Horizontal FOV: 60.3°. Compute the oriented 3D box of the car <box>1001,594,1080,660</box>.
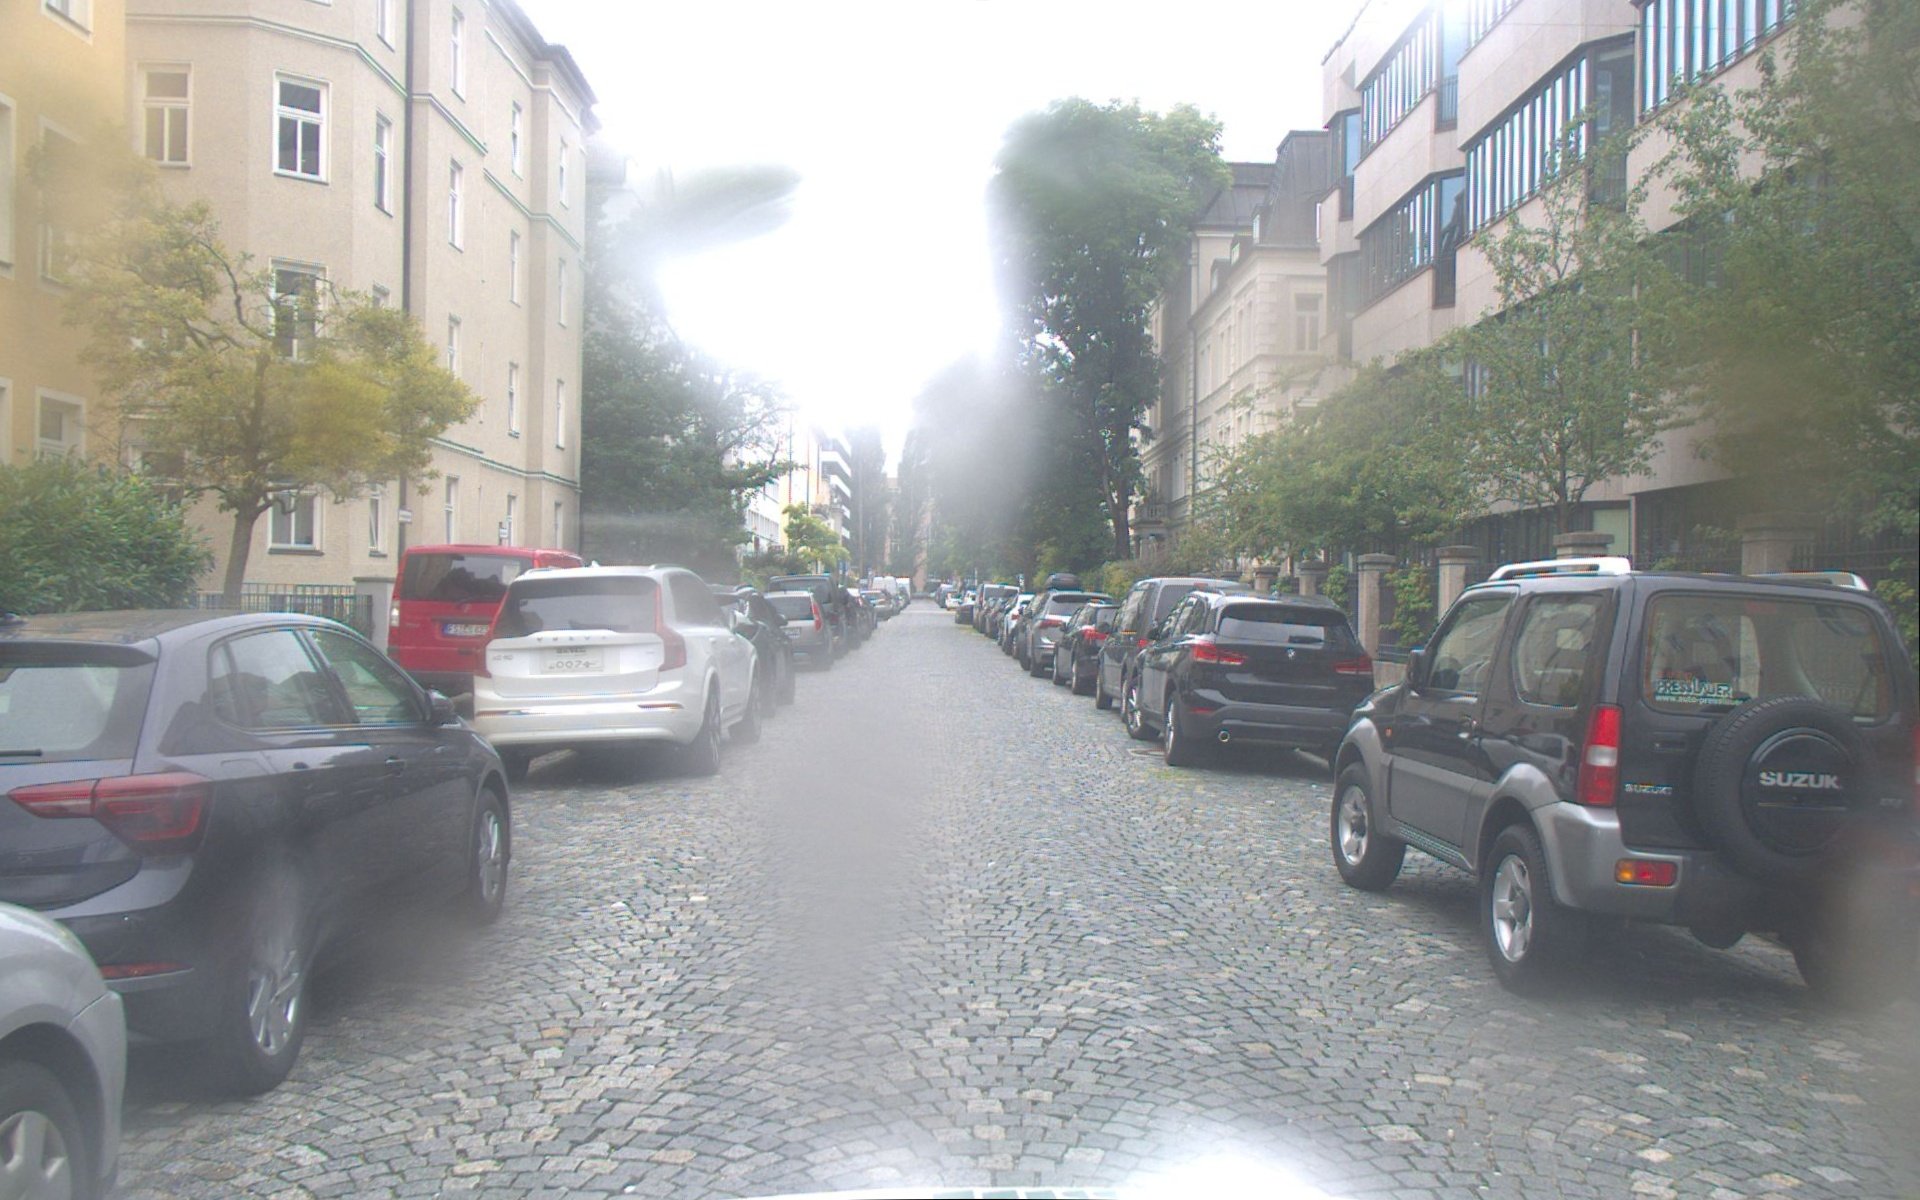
[{"bbox_3d":[2.074,0.679,43.712,1.835,1.516,4.617,3,1,0],"label":"car"}]

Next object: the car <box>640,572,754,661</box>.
[{"bbox_3d":[-5.860,0.336,37.350,1.906,1.765,4.655,3,0,-2],"label":"car"}]

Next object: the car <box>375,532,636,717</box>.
[{"bbox_3d":[-5.504,0.258,20.811,1.954,1.964,5.328,2,0,-2],"label":"car"}]

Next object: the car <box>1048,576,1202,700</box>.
[{"bbox_3d":[2.649,0.576,27.680,1.836,1.765,4.657,4,0,-2],"label":"car"}]

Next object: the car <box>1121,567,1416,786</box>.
[{"bbox_3d":[2.829,0.632,16.308,1.823,1.731,4.812,3,0,-1],"label":"car"}]

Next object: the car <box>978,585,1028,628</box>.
[{"bbox_3d":[1.675,0.241,65.658,1.800,1.516,4.421,3,0,0],"label":"car"}]

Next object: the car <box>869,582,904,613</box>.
[{"bbox_3d":[-4.049,-0.160,90.861,1.836,1.607,4.252,-2,0,-3],"label":"car"}]

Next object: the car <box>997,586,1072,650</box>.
[{"bbox_3d":[2.140,0.490,48.691,1.835,1.699,4.656,3,0,-1],"label":"car"}]

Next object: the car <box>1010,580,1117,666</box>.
[{"bbox_3d":[2.340,0.488,38.584,1.836,1.765,4.744,4,0,-4],"label":"car"}]

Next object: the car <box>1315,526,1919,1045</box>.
[{"bbox_3d":[3.008,0.662,7.830,1.586,1.781,3.885,3,0,-3],"label":"car"}]

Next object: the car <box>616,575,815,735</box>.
[{"bbox_3d":[-3.086,0.634,21.877,1.878,1.765,4.755,-4,0,-1],"label":"car"}]

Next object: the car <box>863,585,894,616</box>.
[{"bbox_3d":[-5.083,0.031,103.410,1.836,1.807,4.121,-3,0,-2],"label":"car"}]

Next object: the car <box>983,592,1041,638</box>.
[{"bbox_3d":[1.822,0.509,58.696,1.679,1.498,4.267,3,0,-2],"label":"car"}]

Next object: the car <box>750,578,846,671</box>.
[{"bbox_3d":[-3.345,0.463,34.903,1.828,1.765,4.400,-2,1,-4],"label":"car"}]

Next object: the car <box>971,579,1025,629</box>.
[{"bbox_3d":[1.582,0.157,71.286,1.836,1.962,5.161,3,0,-3],"label":"car"}]

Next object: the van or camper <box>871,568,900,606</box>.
[{"bbox_3d":[-5.557,-0.954,123.824,1.953,2.698,3.999,-2,0,-1],"label":"van or camper"}]

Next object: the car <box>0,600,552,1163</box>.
[{"bbox_3d":[-2.861,0.754,6.291,1.695,1.443,3.935,-2,0,-1],"label":"car"}]

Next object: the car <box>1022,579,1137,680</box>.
[{"bbox_3d":[2.274,0.533,32.641,1.835,1.765,4.891,3,0,0],"label":"car"}]

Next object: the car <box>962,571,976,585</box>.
[{"bbox_3d":[1.368,-3.343,248.075,1.953,2.049,3.999,1,0,-1],"label":"car"}]

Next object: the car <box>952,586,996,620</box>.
[{"bbox_3d":[0.673,0.135,83.267,1.836,1.529,4.508,3,0,-3],"label":"car"}]

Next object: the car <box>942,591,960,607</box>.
[{"bbox_3d":[-0.946,-0.084,165.558,1.753,1.547,3.999,1,0,-1],"label":"car"}]

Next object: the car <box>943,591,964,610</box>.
[{"bbox_3d":[-0.561,0.034,144.906,1.753,1.547,3.999,1,0,-1],"label":"car"}]

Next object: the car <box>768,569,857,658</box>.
[{"bbox_3d":[-3.486,0.293,39.792,1.835,1.950,4.825,-2,0,-2],"label":"car"}]

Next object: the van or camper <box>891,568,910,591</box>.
[{"bbox_3d":[-7.448,-2.615,208.353,2.210,2.790,5.097,1,0,-1],"label":"van or camper"}]

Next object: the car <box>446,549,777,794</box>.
[{"bbox_3d":[-2.967,0.537,15.315,1.965,1.840,5.174,-1,0,-1],"label":"car"}]

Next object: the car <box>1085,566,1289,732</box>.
[{"bbox_3d":[2.848,0.569,21.750,1.753,1.827,4.507,4,0,-3],"label":"car"}]

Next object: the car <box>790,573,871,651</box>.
[{"bbox_3d":[-3.573,0.297,46.323,1.953,1.950,5.175,-3,0,-2],"label":"car"}]

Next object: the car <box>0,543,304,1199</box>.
[{"bbox_3d":[-2.458,0.720,1.958,1.679,1.589,4.389,-1,0,-2],"label":"car"}]

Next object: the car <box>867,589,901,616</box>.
[{"bbox_3d":[-4.996,0.153,108.883,1.834,1.607,4.209,3,0,2],"label":"car"}]
